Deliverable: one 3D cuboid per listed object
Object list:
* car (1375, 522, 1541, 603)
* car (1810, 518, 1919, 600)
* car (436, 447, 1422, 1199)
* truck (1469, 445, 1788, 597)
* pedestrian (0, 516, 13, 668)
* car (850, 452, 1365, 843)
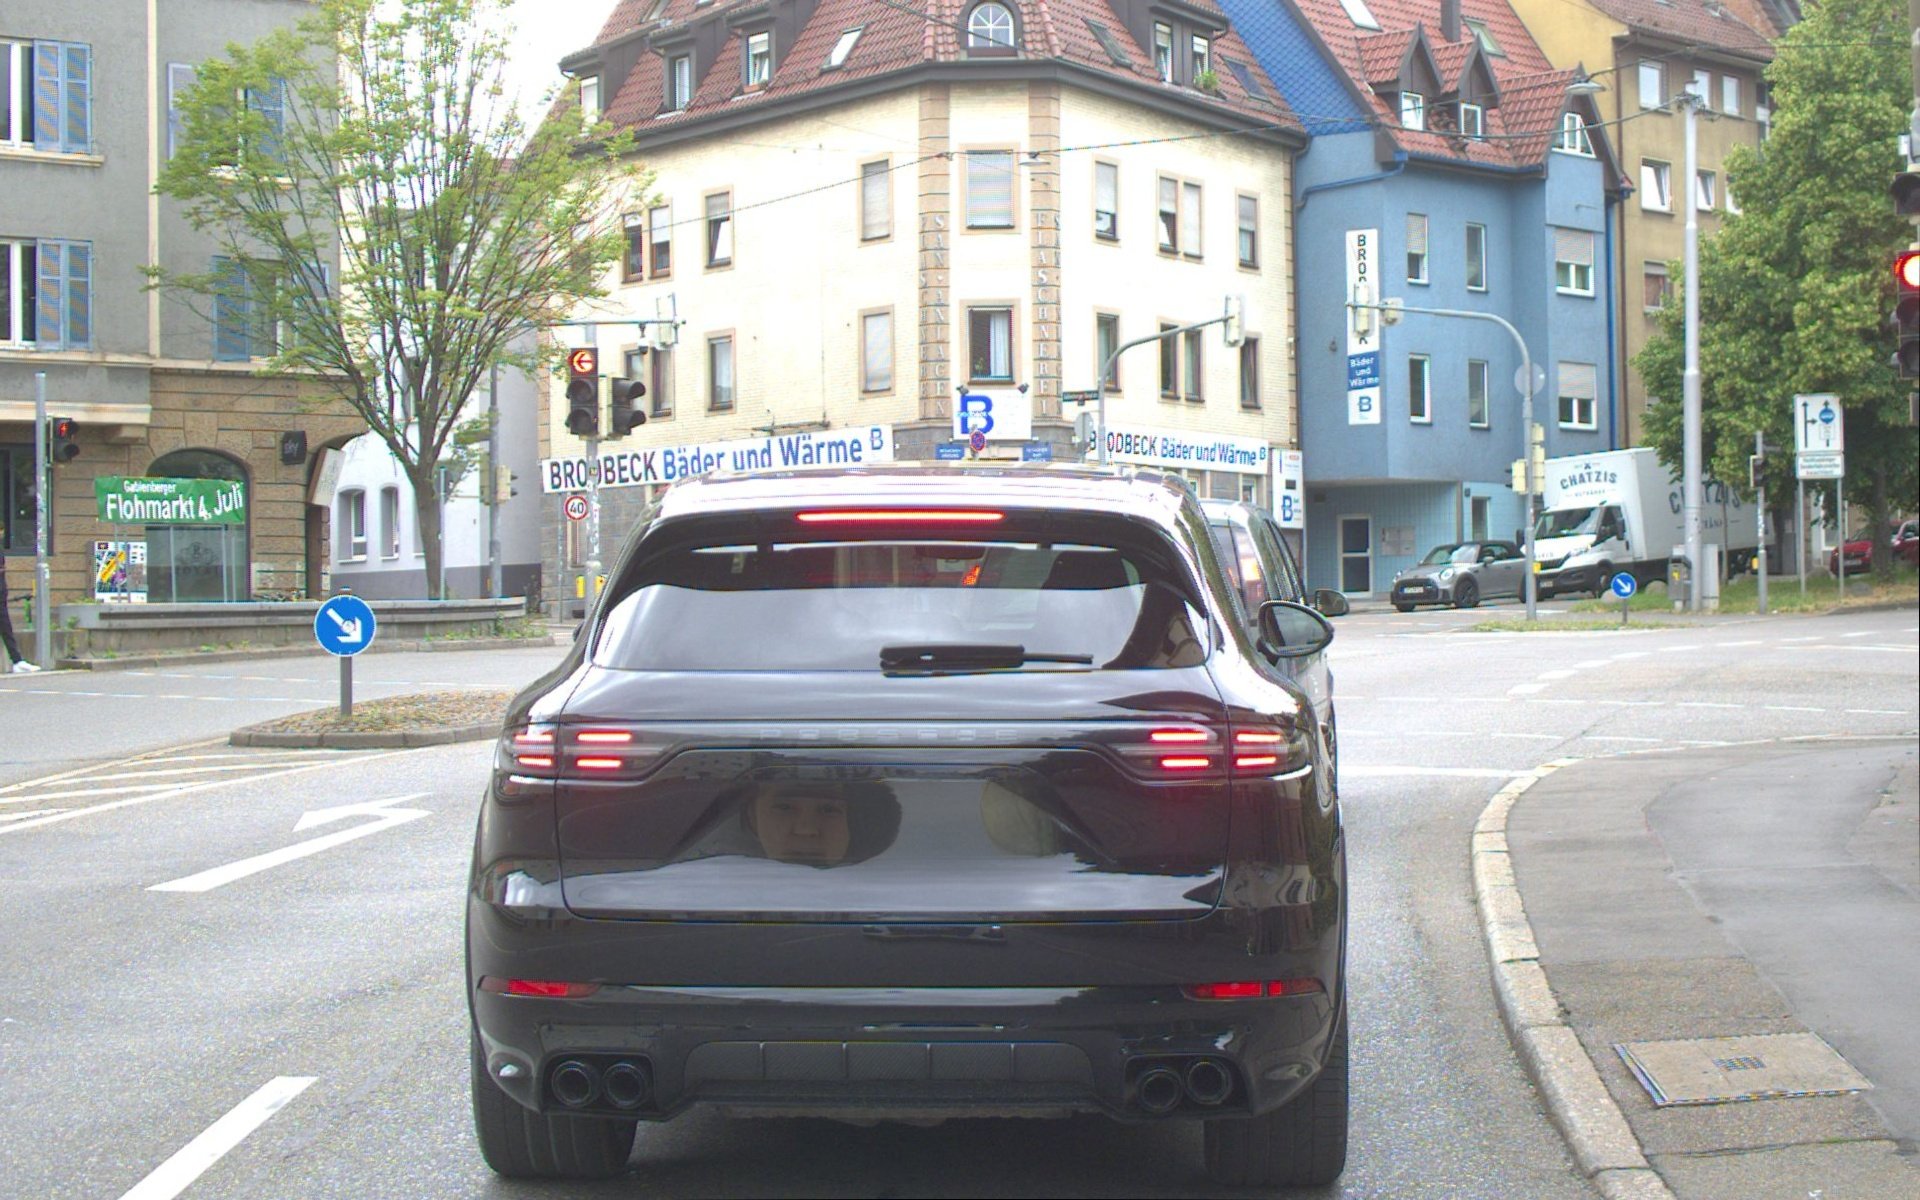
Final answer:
[{"bbox_3d":[10.688,-0.816,73.581,1.997,1.678,3.992,0,1,34],"label":"car"},{"bbox_3d":[23.901,-1.027,88.862,1.999,2.007,3.990,2,1,43],"label":"car"},{"bbox_3d":[-0.159,0.475,8.906,1.978,1.678,4.001,0,2,-3],"label":"car"},{"bbox_3d":[15.695,-1.796,80.216,2.881,3.328,8.771,2,1,44],"label":"truck"},{"bbox_3d":[-11.162,-0.102,39.241,0.513,1.724,0.451,2,0,2],"label":"pedestrian"},{"bbox_3d":[0.856,0.174,16.890,1.994,1.678,3.998,0,1,10],"label":"car"}]
